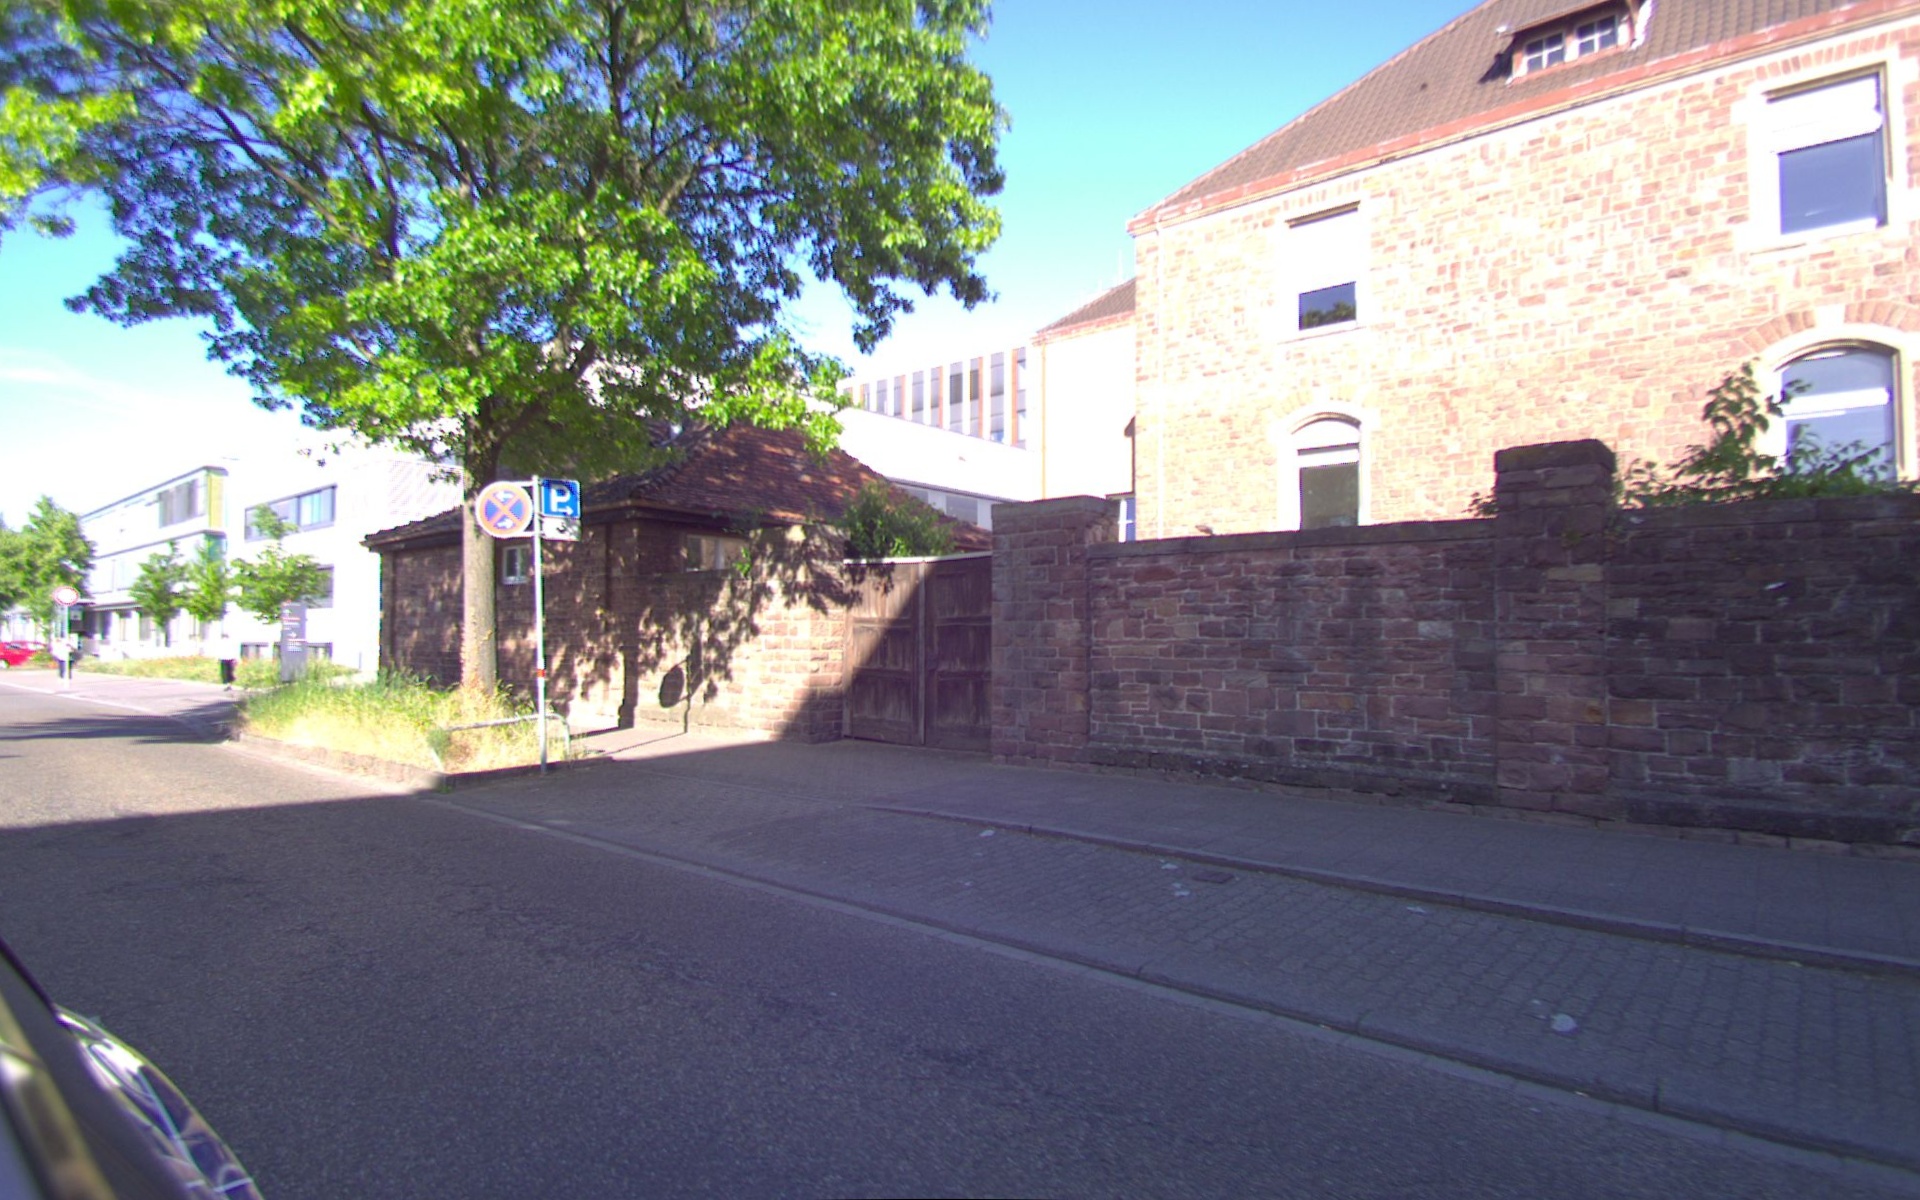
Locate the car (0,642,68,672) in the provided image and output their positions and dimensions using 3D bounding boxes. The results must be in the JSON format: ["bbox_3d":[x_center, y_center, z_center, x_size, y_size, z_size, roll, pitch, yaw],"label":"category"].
[{"bbox_3d":[-49.527,3.021,53.461,3.591,1.480,1.615,0,-2,-43],"label":"car"}]

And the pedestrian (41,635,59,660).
[{"bbox_3d":[-57.950,3.010,64.424,0.779,1.561,0.765,-2,-1,41],"label":"pedestrian"}]

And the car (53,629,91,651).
[{"bbox_3d":[-79.366,3.581,90.429,4.707,1.905,1.900,-2,-3,40],"label":"car"}]

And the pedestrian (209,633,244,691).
[{"bbox_3d":[-20.310,1.703,28.007,1.095,1.574,0.516,-2,-3,40],"label":"pedestrian"}]

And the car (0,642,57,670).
[{"bbox_3d":[-51.276,3.012,54.012,1.700,1.378,4.462,-2,-2,43],"label":"car"}]

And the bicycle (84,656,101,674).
[{"bbox_3d":[-54.224,4.042,63.267,1.860,1.120,0.529,-2,-3,41],"label":"bicycle"}]

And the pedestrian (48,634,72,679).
[{"bbox_3d":[-31.193,1.938,35.085,0.607,1.535,0.532,-2,-3,42],"label":"pedestrian"}]
